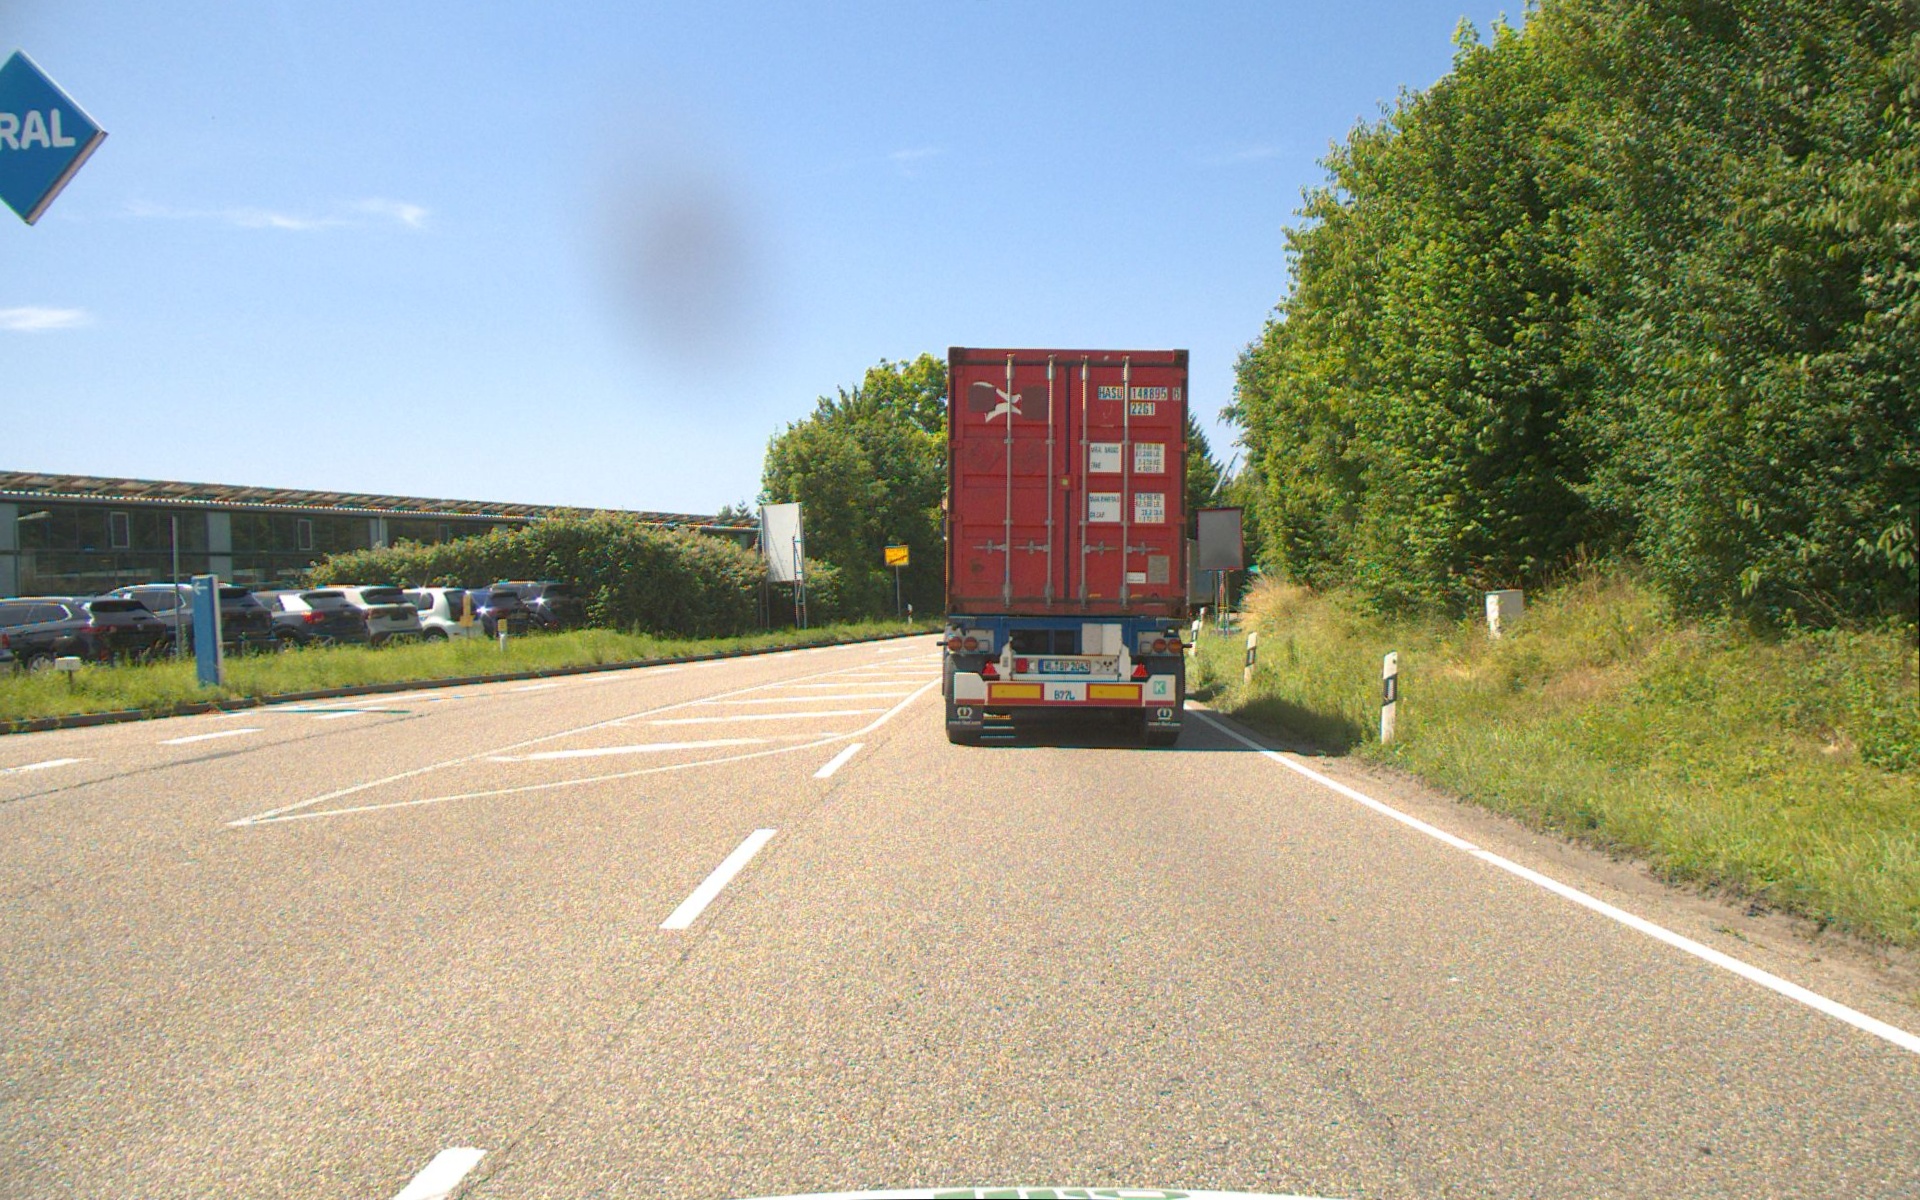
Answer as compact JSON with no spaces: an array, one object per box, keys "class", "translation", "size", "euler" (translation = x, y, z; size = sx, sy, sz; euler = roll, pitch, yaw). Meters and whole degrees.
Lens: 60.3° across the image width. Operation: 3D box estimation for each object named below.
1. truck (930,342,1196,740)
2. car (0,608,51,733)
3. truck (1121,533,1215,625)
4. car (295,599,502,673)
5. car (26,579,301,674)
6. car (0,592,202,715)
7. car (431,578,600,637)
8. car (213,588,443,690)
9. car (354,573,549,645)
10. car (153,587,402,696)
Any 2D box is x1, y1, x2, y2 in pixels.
[{"class":"truck","translation":[1.001,-0.589,22.843],"size":[2.593,3.873,13.358],"euler":[0,0,0]},{"class":"car","translation":[-15.592,1.068,24.075],"size":[3.903,1.780,1.936],"euler":[-2,-1,17]},{"class":"truck","translation":[9.820,-0.998,76.812],"size":[2.859,3.781,13.372],"euler":[-2,0,13]},{"class":"car","translation":[-12.375,0.787,36.524],"size":[3.902,1.340,1.835],"euler":[-4,0,14]},{"class":"car","translation":[-13.744,0.449,28.607],"size":[3.903,1.355,2.002],"euler":[-4,0,16]},{"class":"car","translation":[-14.234,0.846,25.908],"size":[3.903,1.780,2.001],"euler":[-2,-1,17]},{"class":"car","translation":[-10.935,0.166,40.781],"size":[3.618,1.397,1.805],"euler":[0,0,17]},{"class":"car","translation":[-12.917,0.787,33.885],"size":[3.903,1.780,2.002],"euler":[-4,0,16]},{"class":"car","translation":[-11.850,0.198,38.622],"size":[3.902,1.386,1.822],"euler":[-4,0,13]},{"class":"car","translation":[-12.937,0.773,31.430],"size":[3.903,1.780,2.002],"euler":[-4,0,16]}]
